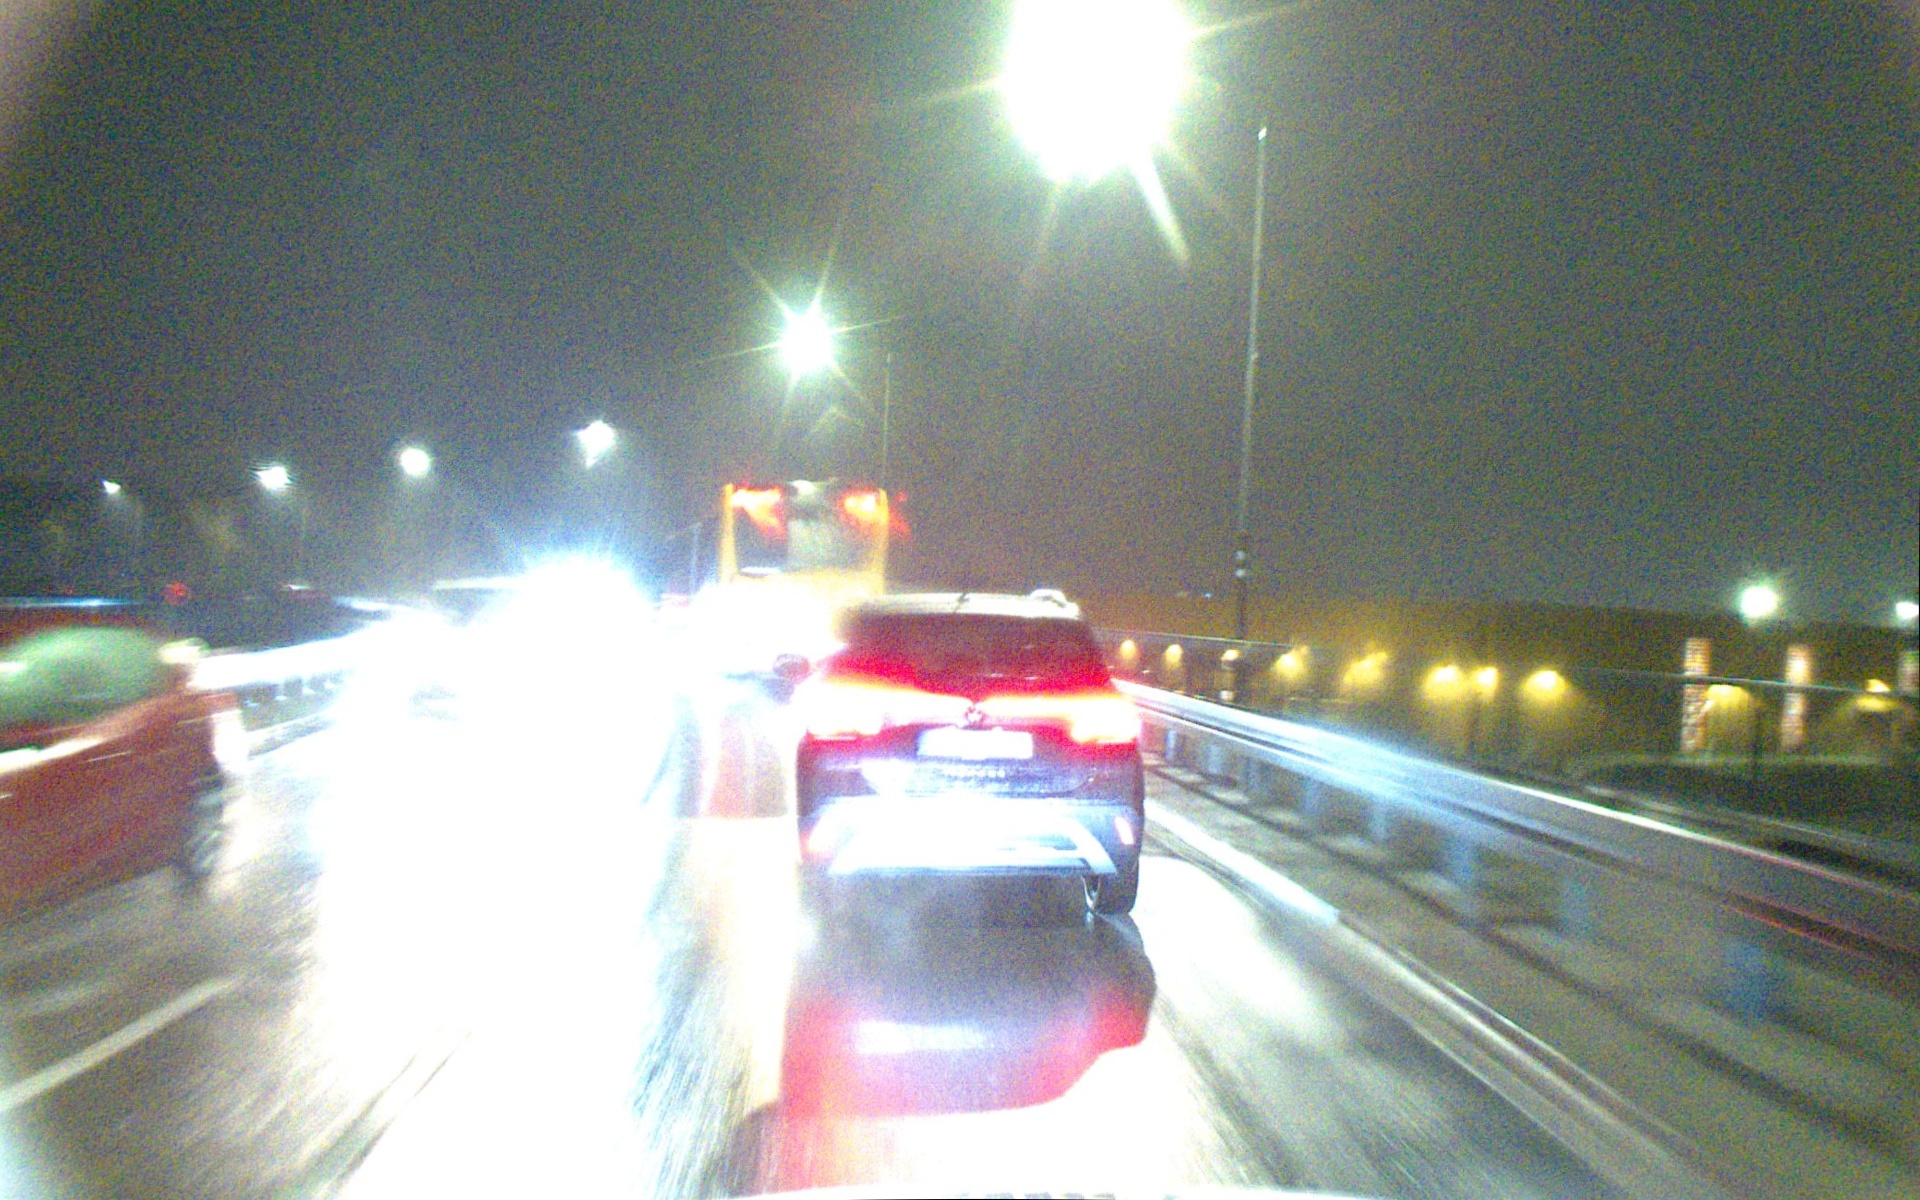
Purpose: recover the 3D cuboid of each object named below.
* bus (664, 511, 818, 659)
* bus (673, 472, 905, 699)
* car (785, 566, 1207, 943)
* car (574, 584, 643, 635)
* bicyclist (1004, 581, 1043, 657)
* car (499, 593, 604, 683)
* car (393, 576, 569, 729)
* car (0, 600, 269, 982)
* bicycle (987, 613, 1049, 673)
[{"bbox_3d":[-5.450,-0.380,39.858,2.996,3.186,8.052,0,1,-13],"label":"bus"},{"bbox_3d":[-3.496,-0.264,29.777,3.028,3.187,12.662,0,1,-11],"label":"bus"},{"bbox_3d":[-0.038,0.683,9.179,1.820,1.614,3.994,1,0,-6],"label":"car"},{"bbox_3d":[-12.422,0.364,58.330,1.615,1.684,3.682,-2,-1,-24],"label":"car"},{"bbox_3d":[1.159,0.342,30.281,0.445,1.373,0.761,2,0,-17],"label":"bicyclist"},{"bbox_3d":[-8.546,0.736,34.903,1.987,1.749,4.966,0,0,-13],"label":"car"},{"bbox_3d":[-6.548,0.648,22.990,1.721,1.893,3.993,-1,0,-8],"label":"car"},{"bbox_3d":[-4.592,0.740,7.014,1.778,1.428,4.046,0,1,-3],"label":"car"},{"bbox_3d":[1.051,0.770,30.624,0.476,1.052,2.162,1,0,-16],"label":"bicycle"}]
